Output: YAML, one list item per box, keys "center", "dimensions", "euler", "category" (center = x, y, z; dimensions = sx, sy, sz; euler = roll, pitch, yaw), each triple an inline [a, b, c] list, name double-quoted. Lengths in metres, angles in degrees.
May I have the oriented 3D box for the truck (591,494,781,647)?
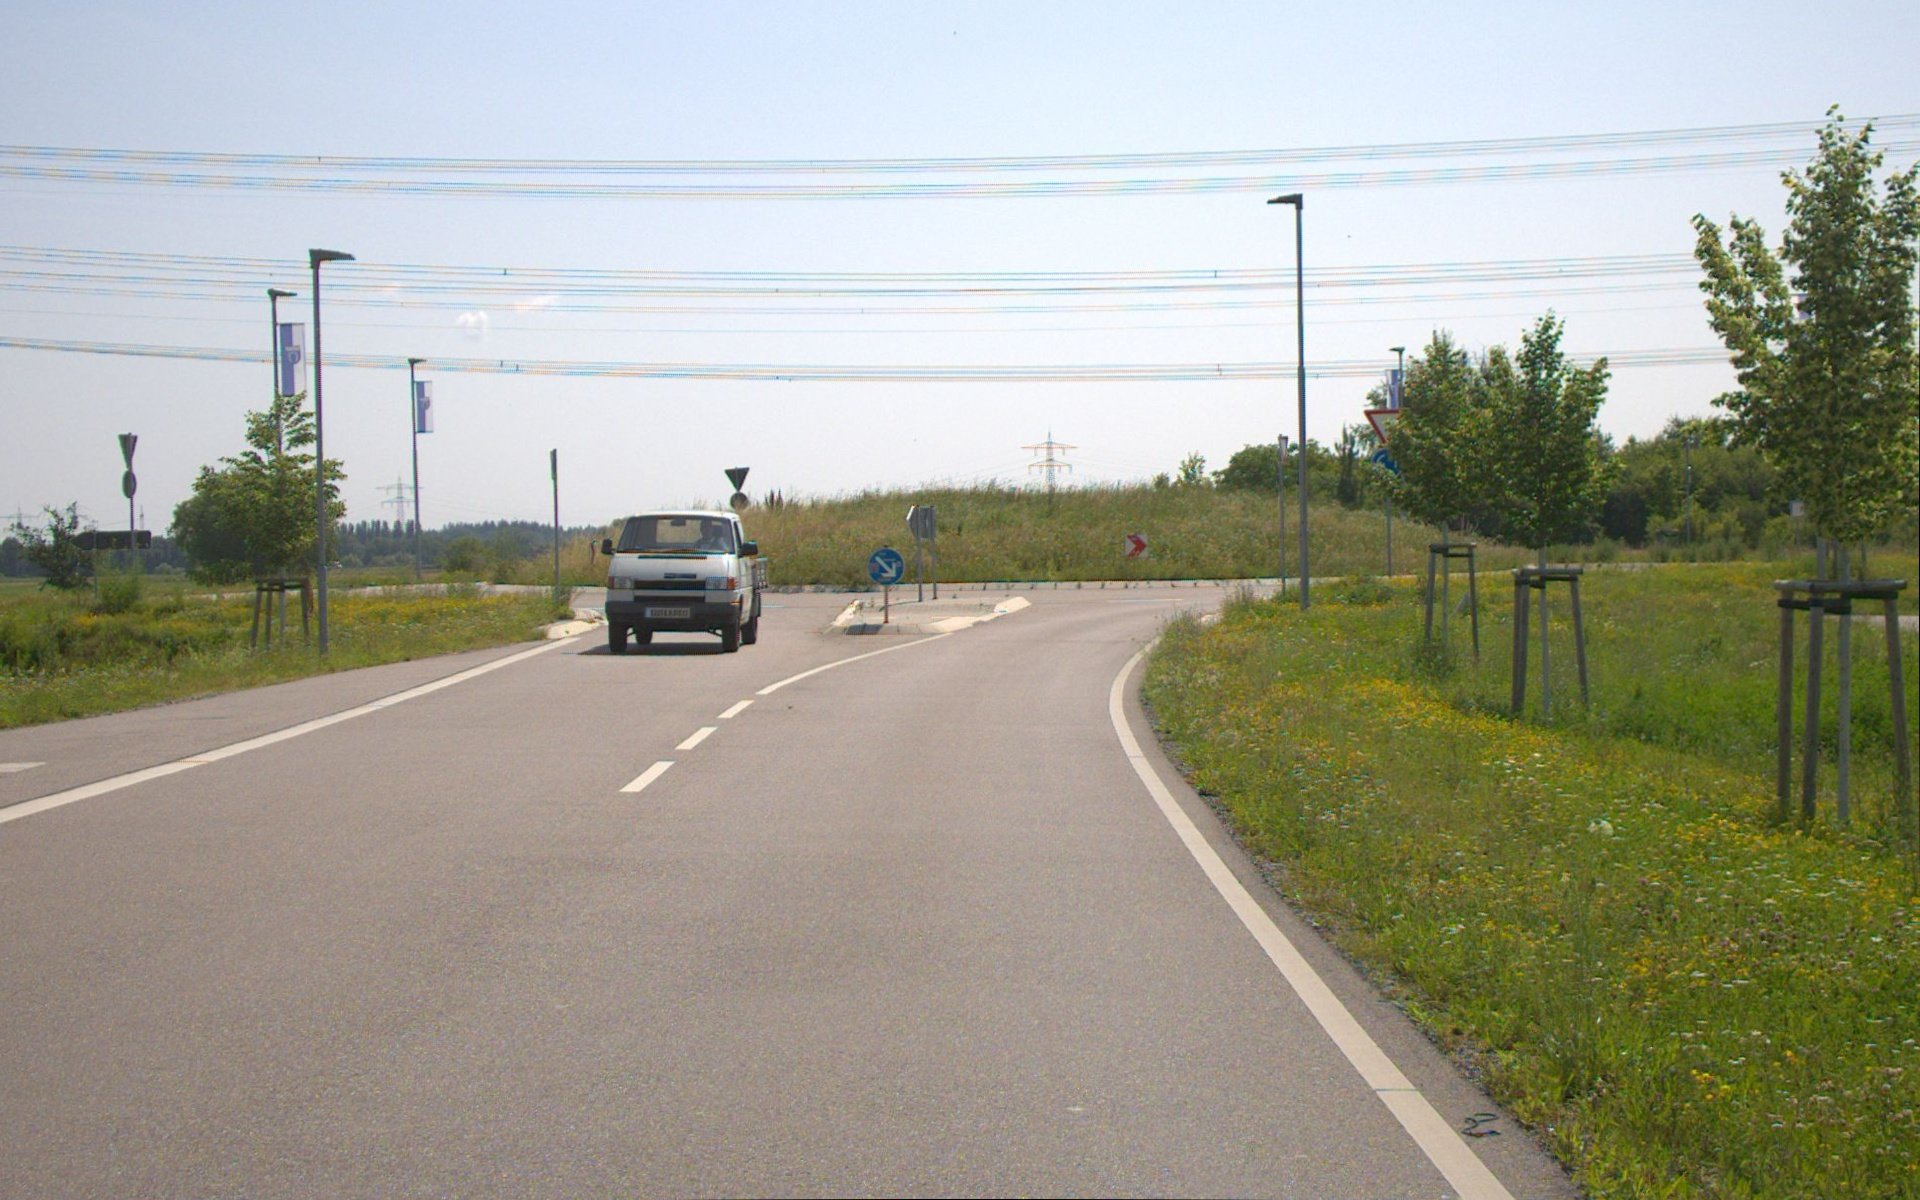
- center: [-3.811, -0.459, 48.787]
  dimensions: [1.952, 1.978, 5.644]
  euler: [-2, 1, 2]
  category: "truck"
